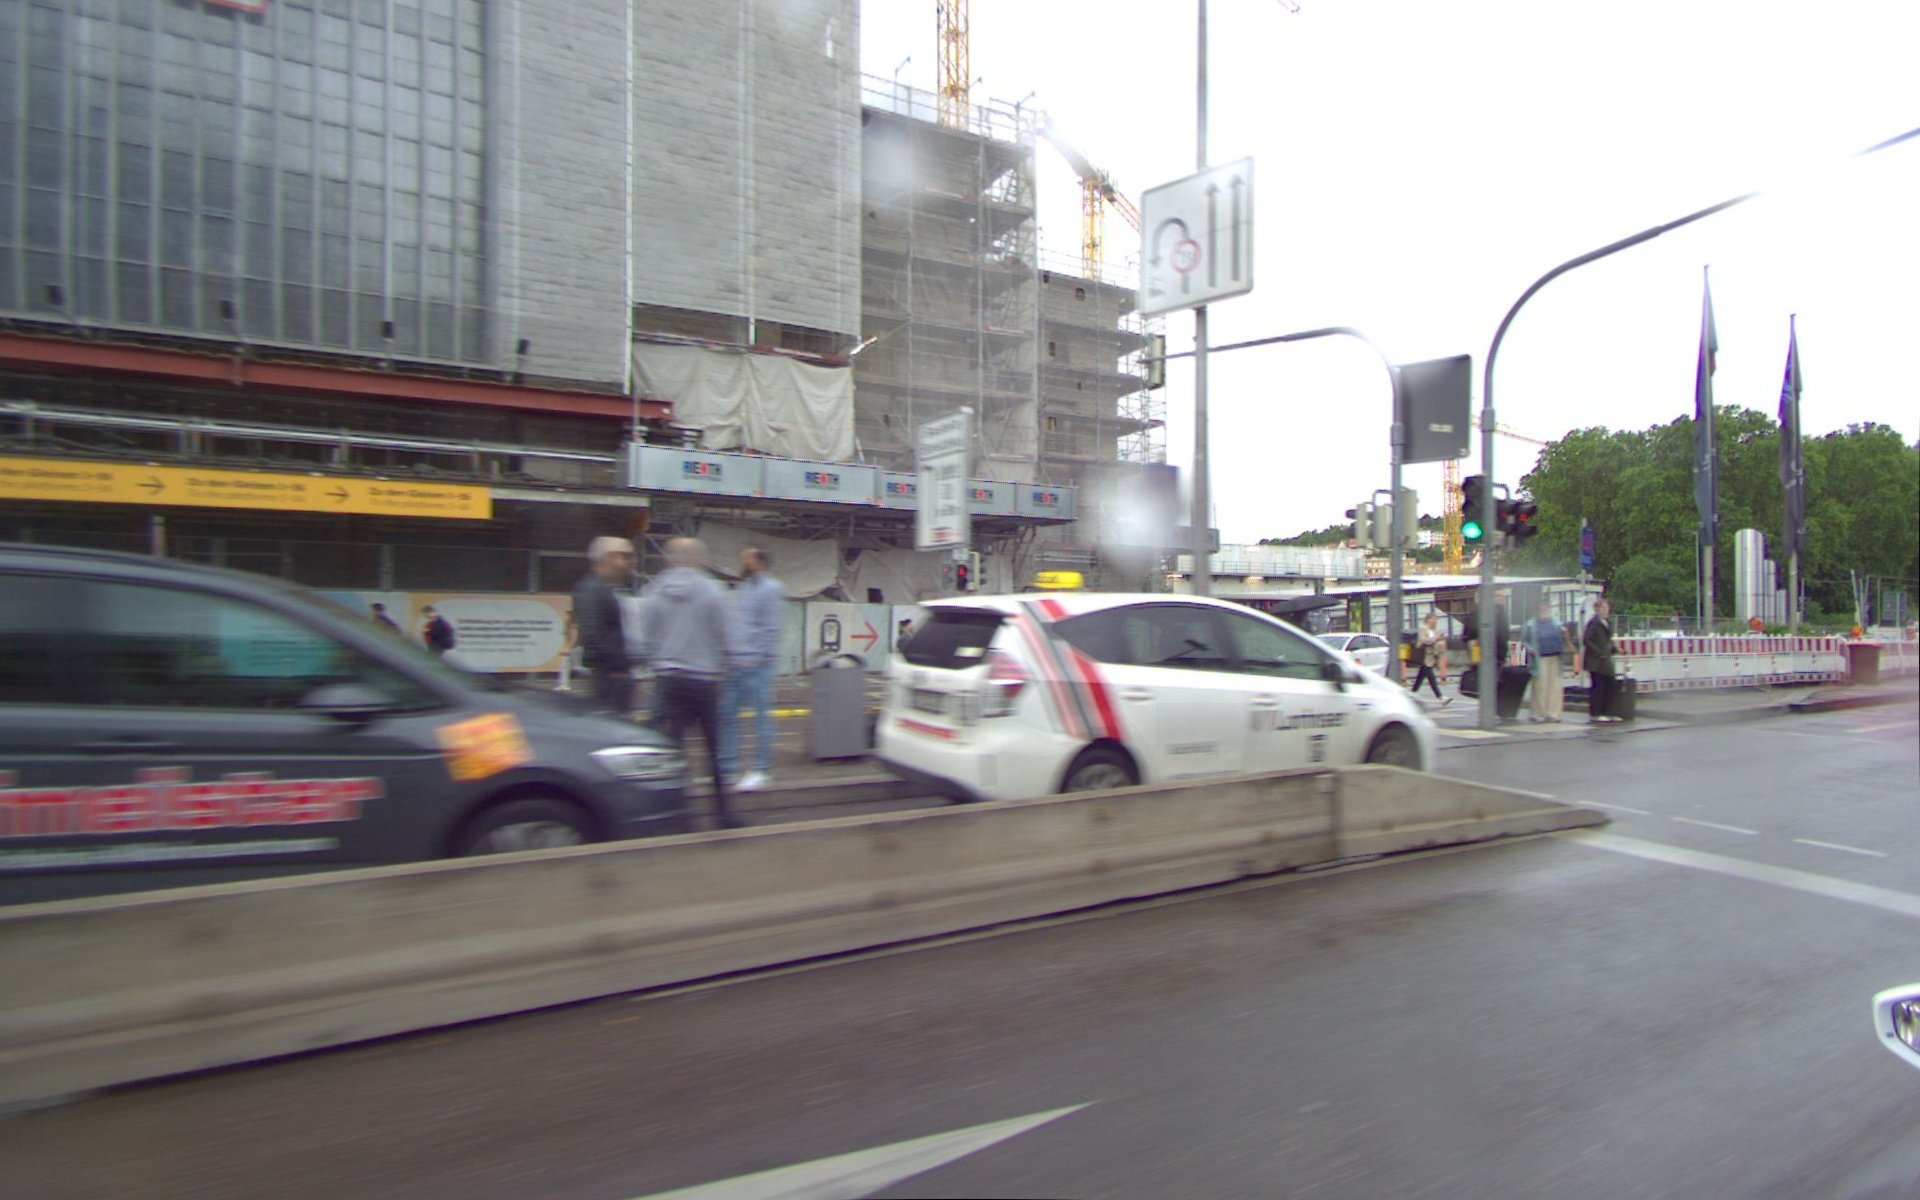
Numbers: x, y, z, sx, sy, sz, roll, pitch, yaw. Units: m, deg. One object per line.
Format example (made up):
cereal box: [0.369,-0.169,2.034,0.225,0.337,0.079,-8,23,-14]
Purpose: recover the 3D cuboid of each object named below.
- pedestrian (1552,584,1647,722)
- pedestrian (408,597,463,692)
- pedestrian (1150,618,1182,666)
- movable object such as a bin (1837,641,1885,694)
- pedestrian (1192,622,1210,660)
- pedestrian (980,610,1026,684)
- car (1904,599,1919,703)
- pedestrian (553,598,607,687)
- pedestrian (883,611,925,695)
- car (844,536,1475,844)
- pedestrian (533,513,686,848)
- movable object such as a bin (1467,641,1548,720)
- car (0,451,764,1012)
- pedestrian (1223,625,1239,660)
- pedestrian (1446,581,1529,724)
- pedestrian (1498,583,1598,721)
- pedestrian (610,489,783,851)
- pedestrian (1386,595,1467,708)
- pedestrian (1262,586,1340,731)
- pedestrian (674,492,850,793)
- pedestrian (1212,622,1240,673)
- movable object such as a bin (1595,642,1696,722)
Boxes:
pedestrian: [9.191,0.752,14.479,0.670,1.911,1.006,1,-1,-7]
pedestrian: [-10.640,0.887,20.366,0.925,1.865,0.815,1,-1,-30]
pedestrian: [7.555,1.541,36.876,1.007,1.685,0.836,1,-2,3]
movable object such as a bin: [21.234,1.579,23.668,0.760,1.177,0.666,2,1,-36]
pedestrian: [12.424,2.113,51.816,0.785,1.906,0.662,1,-2,0]
pedestrian: [1.097,1.198,25.886,1.022,1.865,0.985,1,-1,-8]
car: [19.840,1.011,18.861,5.009,1.870,1.981,2,0,-34]
pedestrian: [-8.266,0.915,21.837,0.982,1.865,0.723,1,-1,-30]
pedestrian: [-1.261,1.186,22.741,0.629,1.865,0.774,0,-1,28]
car: [1.615,0.570,7.517,4.611,1.708,1.778,2,-1,-30]
pedestrian: [-2.307,0.500,6.599,0.826,2.040,0.618,1,-1,-30]
movable object such as a bin: [7.857,1.140,14.433,0.735,1.090,0.744,1,-1,-7]
car: [-3.333,0.472,4.389,4.555,1.917,1.706,2,-1,-30]
pedestrian: [15.047,2.370,55.782,0.780,1.906,0.494,1,-2,0]
pedestrian: [7.313,0.710,13.925,0.685,1.911,0.823,1,-1,-39]
pedestrian: [8.431,0.737,14.443,0.802,1.911,1.006,1,-1,-7]
pedestrian: [-1.604,0.405,6.120,0.881,2.040,0.524,1,-1,-32]
pedestrian: [8.171,0.882,17.597,1.015,1.906,0.830,1,-1,-27]
pedestrian: [4.269,0.717,12.580,0.747,1.758,0.580,1,-1,-30]
pedestrian: [-1.407,0.288,7.299,1.007,2.040,0.837,1,-1,8]
pedestrian: [9.980,1.778,37.708,0.843,1.906,0.717,1,-2,0]
movable object such as a bin: [9.902,1.172,14.542,0.735,1.090,1.006,1,-1,-7]
